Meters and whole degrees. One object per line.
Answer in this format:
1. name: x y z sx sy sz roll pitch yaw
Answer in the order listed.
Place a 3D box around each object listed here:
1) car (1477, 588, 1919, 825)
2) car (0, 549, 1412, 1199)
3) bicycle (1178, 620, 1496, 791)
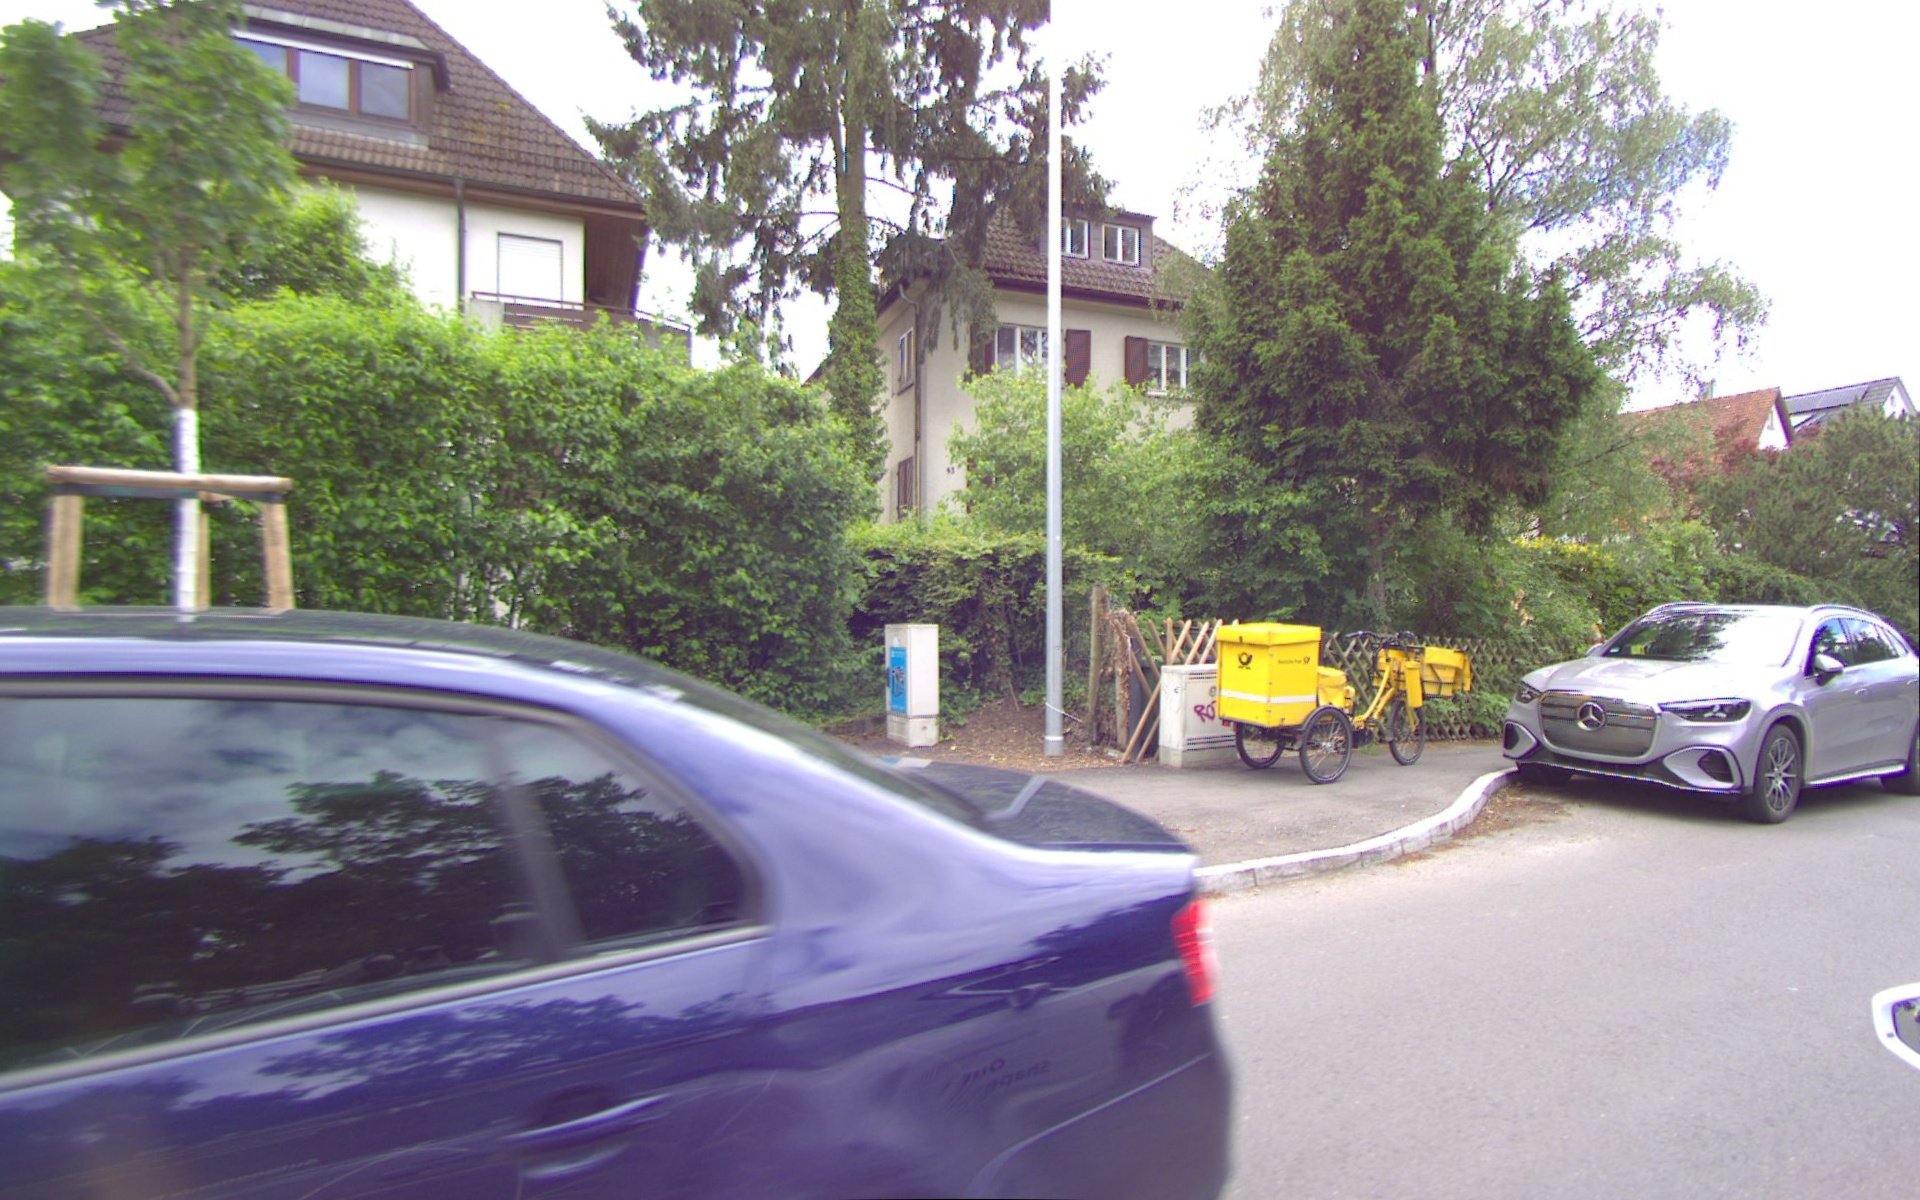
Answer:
1. car: 6.853 0.780 8.862 4.673 1.628 1.788 2 0 -29
2. car: -1.341 0.687 1.652 4.146 1.494 1.699 2 0 -30
3. bicycle: 3.294 0.833 8.692 2.688 1.246 1.146 2 0 -31
